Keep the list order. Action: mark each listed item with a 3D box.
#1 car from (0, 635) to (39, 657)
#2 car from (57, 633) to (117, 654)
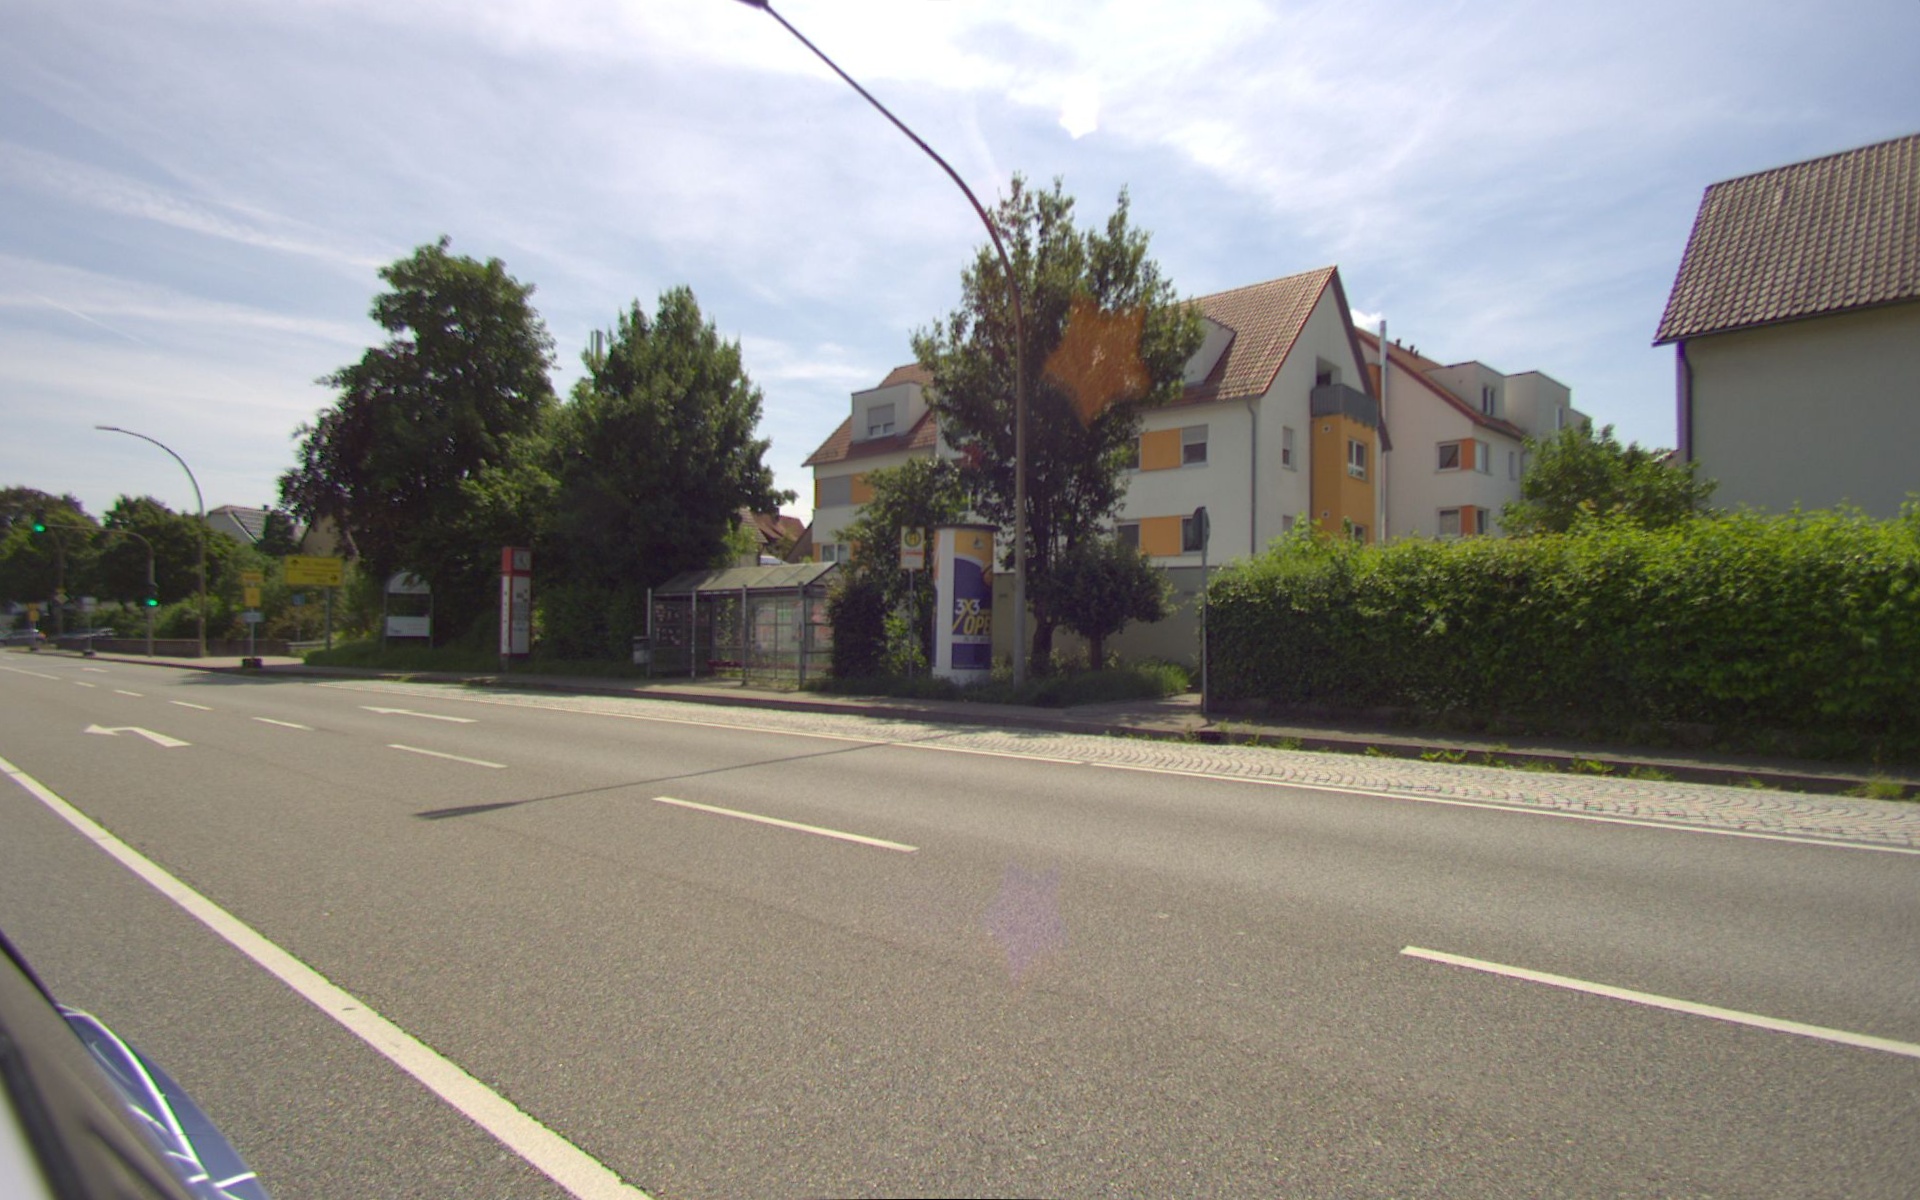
[{"bbox_3d":[-84.083,4.054,89.194,1.996,1.767,3.951,-1,0,37],"label":"car"},{"bbox_3d":[-80.738,4.002,93.645,1.997,1.783,3.949,-1,0,38],"label":"car"}]
